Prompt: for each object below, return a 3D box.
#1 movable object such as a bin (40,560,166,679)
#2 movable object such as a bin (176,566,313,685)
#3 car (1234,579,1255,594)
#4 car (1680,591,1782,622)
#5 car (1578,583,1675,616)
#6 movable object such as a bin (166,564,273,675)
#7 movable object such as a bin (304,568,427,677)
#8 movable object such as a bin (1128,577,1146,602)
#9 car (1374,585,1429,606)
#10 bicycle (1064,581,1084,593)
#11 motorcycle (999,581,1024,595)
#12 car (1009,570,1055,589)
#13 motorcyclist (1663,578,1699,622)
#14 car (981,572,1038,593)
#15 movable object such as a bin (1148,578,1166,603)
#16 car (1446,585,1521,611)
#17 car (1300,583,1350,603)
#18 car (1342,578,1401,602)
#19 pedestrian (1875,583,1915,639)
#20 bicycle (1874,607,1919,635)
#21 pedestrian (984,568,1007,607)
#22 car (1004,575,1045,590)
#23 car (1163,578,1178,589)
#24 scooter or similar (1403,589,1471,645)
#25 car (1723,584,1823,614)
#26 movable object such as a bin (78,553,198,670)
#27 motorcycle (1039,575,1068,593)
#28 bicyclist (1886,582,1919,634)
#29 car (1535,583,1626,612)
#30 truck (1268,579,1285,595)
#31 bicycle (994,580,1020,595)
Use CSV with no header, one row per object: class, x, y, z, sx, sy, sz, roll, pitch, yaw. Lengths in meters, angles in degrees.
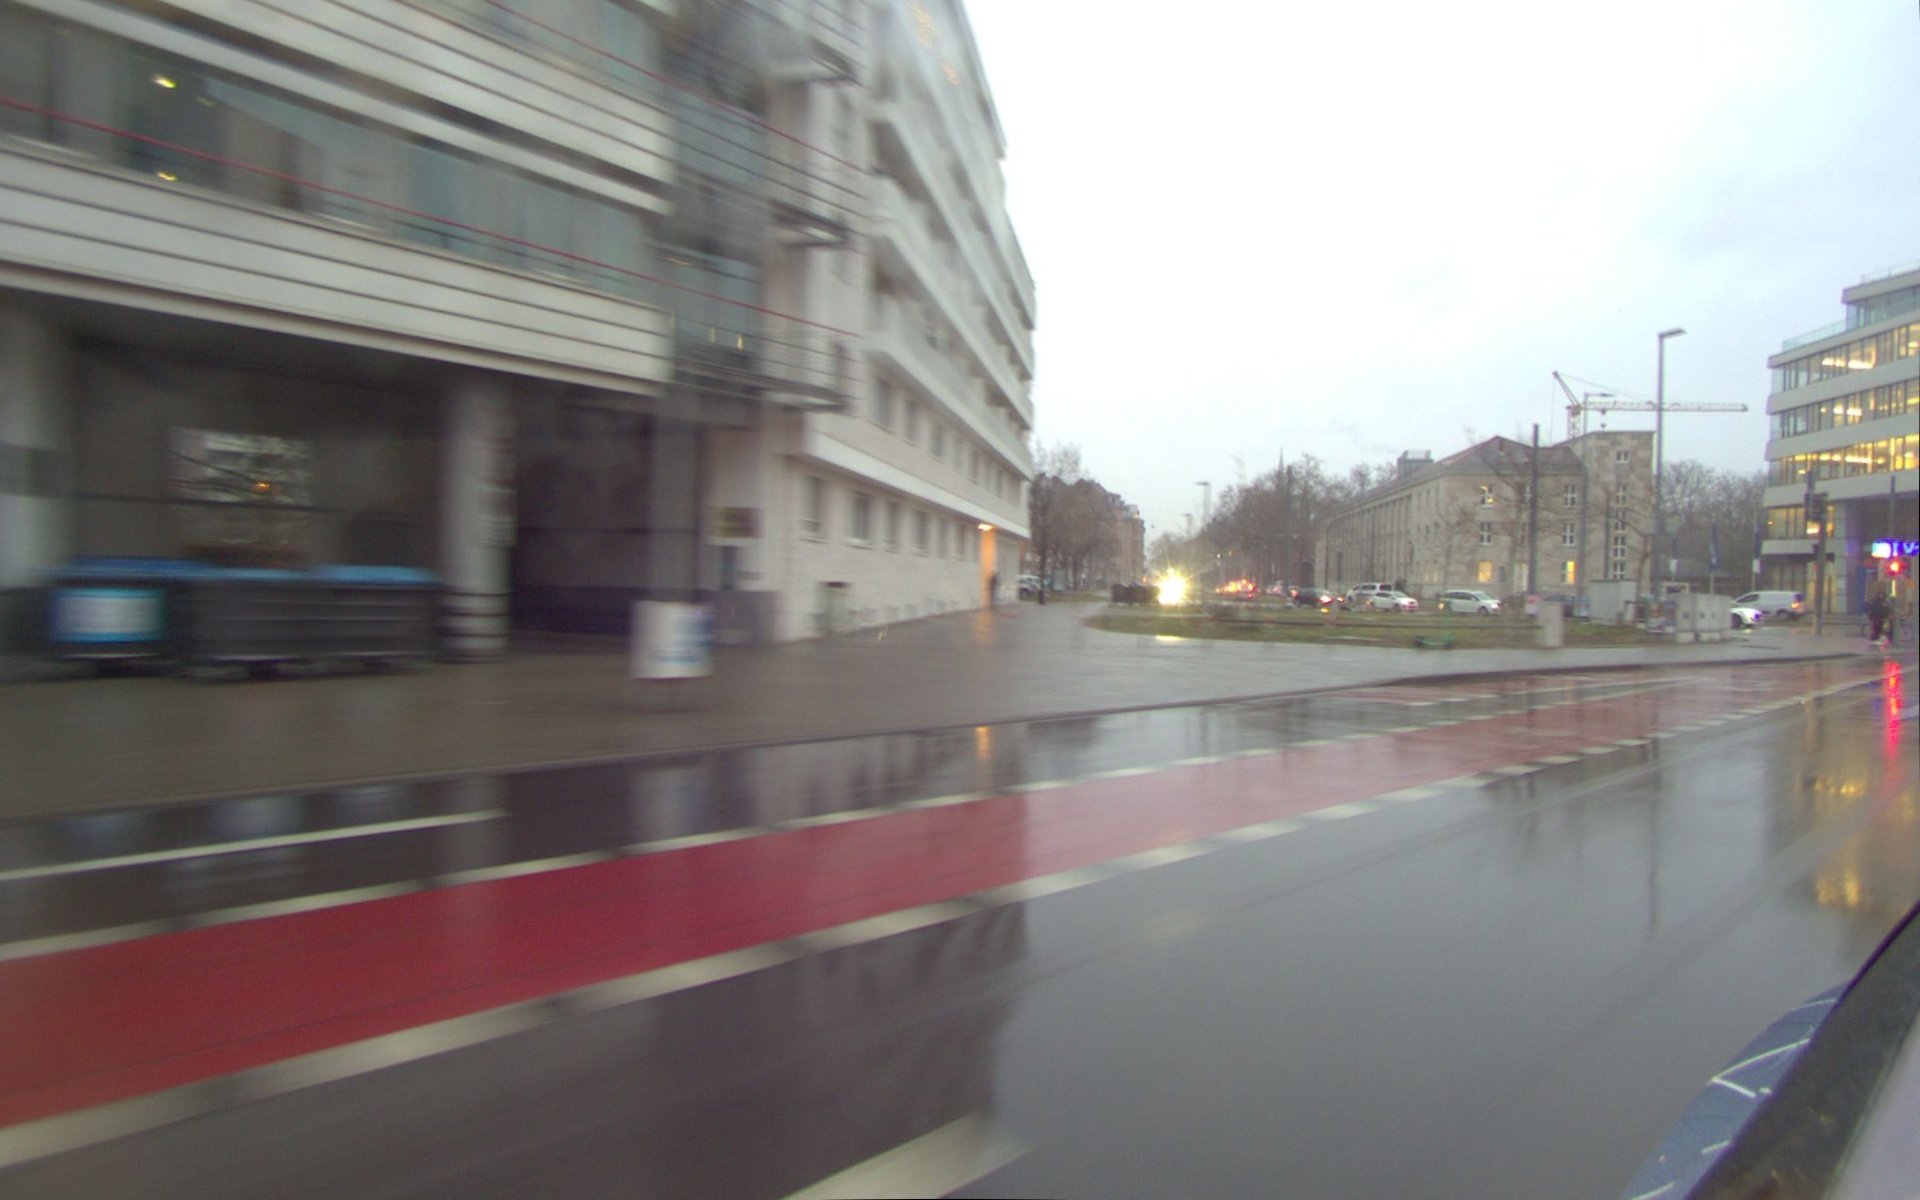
movable object such as a bin,-10.140,0.203,11.987,0.864,1.310,0.999,4,3,39
movable object such as a bin,-8.580,0.272,12.153,0.843,1.310,1.152,4,3,39
car,40.637,-1.941,144.404,1.871,1.894,4.959,-1,2,4
car,40.819,0.315,53.653,1.728,1.481,3.923,-1,2,-29
car,36.234,-0.063,55.129,1.863,1.618,4.015,-1,3,-24
movable object such as a bin,-9.449,0.229,12.919,0.728,1.321,0.950,4,3,39
movable object such as a bin,-7.762,0.262,13.231,0.843,1.310,1.152,4,3,39
movable object such as a bin,11.428,-0.691,65.230,1.038,1.595,1.135,1,1,15
car,31.623,-0.335,72.560,1.655,1.448,3.354,0,2,-22
bicycle,10.402,-1.192,92.428,1.766,0.943,0.445,3,1,9
motorcycle,3.847,-0.928,75.497,1.757,0.943,0.514,3,1,-20
car,7.261,-2.058,102.683,4.254,1.790,1.785,1,1,-20
motorcyclist,31.707,-0.014,44.521,0.870,1.905,0.921,1,1,2
car,3.890,-1.375,79.253,4.069,1.589,1.746,1,1,-21
movable object such as a bin,12.599,-0.623,64.808,1.038,1.529,1.247,1,1,15
car,34.339,-0.160,66.535,1.642,1.619,4.231,1,1,-25
car,28.792,-0.549,79.993,1.839,1.493,4.178,0,1,-10
car,37.921,-0.982,93.512,1.912,2.084,5.674,1,1,-16
pedestrian,32.317,0.378,34.995,0.764,1.901,0.633,1,1,13
bicycle,36.043,0.808,38.462,0.643,0.985,1.871,1,1,-18
pedestrian,1.506,-0.533,43.219,0.708,1.653,0.633,1,1,-32
car,6.187,-1.665,96.713,3.610,1.417,1.524,1,1,-19
car,26.955,-2.129,129.608,1.725,1.387,3.602,1,1,11
scooter or similar,11.297,0.380,23.960,1.525,1.242,0.671,-1,2,-29
car,51.541,-0.075,64.229,1.892,1.740,4.612,0,1,-34
movable object such as a bin,-10.528,0.123,12.973,0.728,1.399,1.065,4,3,39
motorcycle,8.086,-1.406,87.663,2.311,1.362,0.886,4,1,-6
bicyclist,36.113,0.291,38.520,0.776,1.914,0.991,1,1,-18
car,37.083,-0.167,60.606,1.789,1.589,4.370,0,1,-25
truck,42.822,-1.779,136.804,1.810,2.070,3.986,1,1,12
bicycle,3.394,-0.913,73.356,1.758,0.943,0.447,3,1,-14
